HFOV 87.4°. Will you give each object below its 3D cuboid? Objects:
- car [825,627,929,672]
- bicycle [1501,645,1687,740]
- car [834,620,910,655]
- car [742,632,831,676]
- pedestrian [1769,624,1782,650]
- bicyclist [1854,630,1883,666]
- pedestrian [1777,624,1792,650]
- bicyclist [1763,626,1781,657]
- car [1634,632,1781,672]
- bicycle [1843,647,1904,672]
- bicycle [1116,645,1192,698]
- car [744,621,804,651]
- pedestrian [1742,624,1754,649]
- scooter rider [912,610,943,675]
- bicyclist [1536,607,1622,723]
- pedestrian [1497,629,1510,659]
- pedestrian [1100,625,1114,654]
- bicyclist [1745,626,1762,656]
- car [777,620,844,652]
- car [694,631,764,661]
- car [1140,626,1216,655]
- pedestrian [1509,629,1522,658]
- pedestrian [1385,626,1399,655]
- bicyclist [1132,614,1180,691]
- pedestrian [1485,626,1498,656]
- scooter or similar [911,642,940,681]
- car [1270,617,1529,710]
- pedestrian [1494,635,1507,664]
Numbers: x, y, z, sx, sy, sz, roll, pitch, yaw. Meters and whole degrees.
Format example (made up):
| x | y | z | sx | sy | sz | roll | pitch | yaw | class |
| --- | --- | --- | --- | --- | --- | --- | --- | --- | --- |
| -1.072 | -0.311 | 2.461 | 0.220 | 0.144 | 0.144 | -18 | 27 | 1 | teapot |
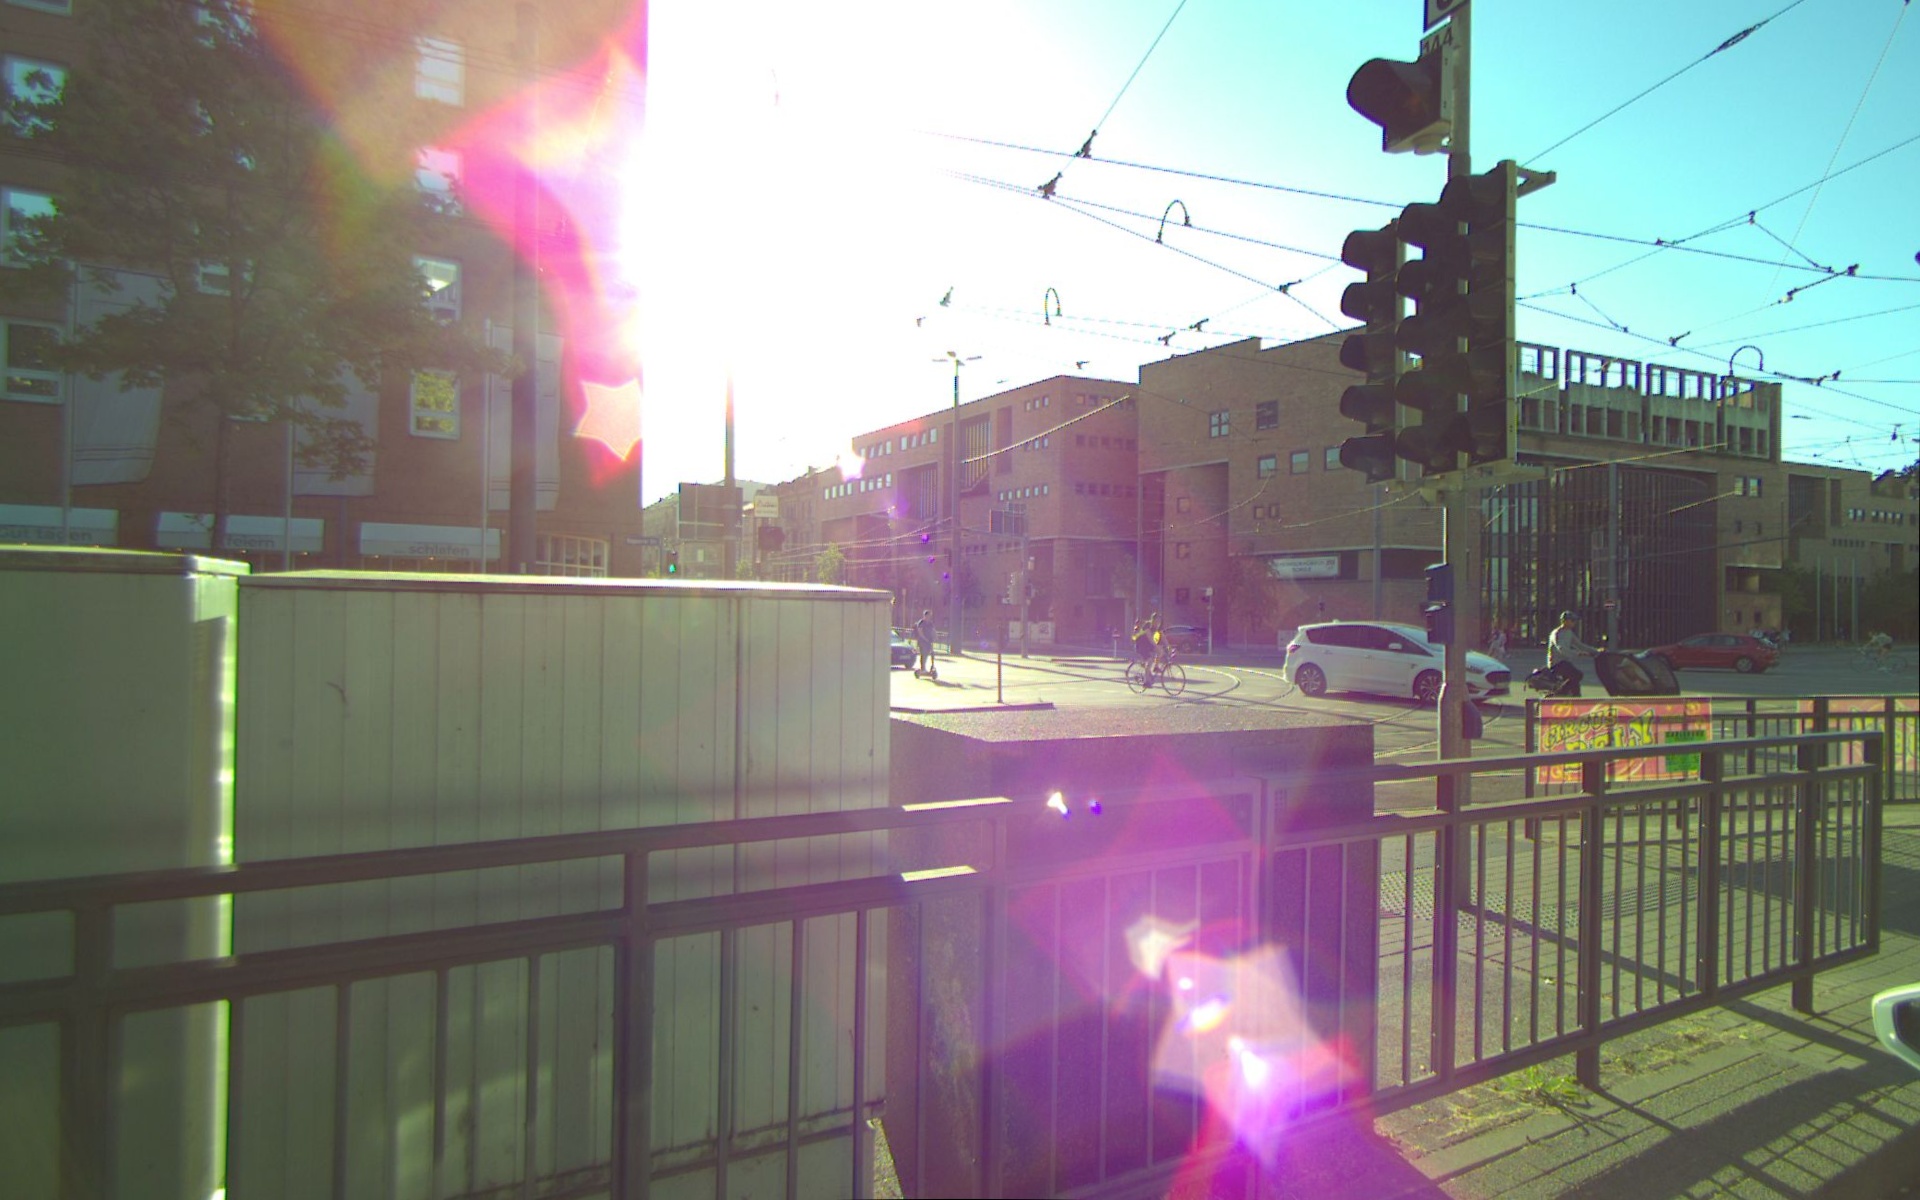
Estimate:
| x | y | z | sx | sy | sz | roll | pitch | yaw | class |
| --- | --- | --- | --- | --- | --- | --- | --- | --- | --- |
| -3.267 | 1.866 | 38.969 | 1.983 | 1.538 | 4.350 | 0 | -1 | -38 | car |
| 9.498 | 1.338 | 15.148 | 1.058 | 1.243 | 2.150 | 0 | -1 | -26 | bicycle |
| -4.606 | 1.910 | 52.050 | 1.981 | 1.719 | 4.316 | 1 | -2 | -36 | car |
| -6.047 | 1.838 | 34.835 | 1.625 | 1.416 | 3.269 | 2 | -2 | -39 | car |
| 57.644 | 2.633 | 71.039 | 0.538 | 1.803 | 0.521 | 1 | -1 | -23 | pedestrian |
| 35.446 | 1.875 | 39.186 | 0.809 | 1.384 | 0.398 | -1 | -2 | 41 | bicyclist |
| 58.605 | 2.654 | 71.399 | 0.538 | 1.834 | 0.640 | 1 | -1 | -23 | pedestrian |
| 45.099 | 2.301 | 55.816 | 0.782 | 1.697 | 0.589 | 1 | -1 | -36 | bicyclist |
| 28.415 | 1.951 | 38.281 | 1.780 | 1.411 | 4.207 | 2 | -2 | -39 | car |
| 35.528 | 2.298 | 39.089 | 1.721 | 0.911 | 0.407 | -1 | -2 | 42 | bicycle |
| 4.327 | 1.569 | 22.512 | 0.621 | 1.078 | 1.916 | 1 | -1 | -27 | bicycle |
| -11.447 | 2.188 | 61.719 | 1.981 | 1.719 | 4.316 | 1 | -2 | -36 | car |
| 56.921 | 2.621 | 72.561 | 0.538 | 1.834 | 0.489 | 1 | -1 | -23 | pedestrian |
| -0.990 | 1.278 | 30.371 | 0.727 | 1.921 | 0.661 | 1 | -2 | -27 | scooter rider |
| 9.422 | 0.966 | 15.312 | 0.682 | 1.703 | 0.901 | 1 | -1 | -26 | bicyclist |
| 31.540 | 2.551 | 58.312 | 0.530 | 1.672 | 0.622 | -1 | -1 | 41 | pedestrian |
| 8.614 | 2.313 | 58.962 | 0.608 | 1.635 | 0.540 | -1 | 2 | -35 | pedestrian |
| 44.515 | 2.284 | 56.352 | 0.782 | 1.697 | 0.589 | 1 | -1 | -36 | bicyclist |
| -8.479 | 2.016 | 56.696 | 1.981 | 1.719 | 4.316 | 1 | -2 | -36 | car |
| -11.717 | 2.294 | 50.766 | 1.980 | 1.398 | 4.351 | 1 | -2 | -35 | car |
| 12.746 | 2.333 | 58.924 | 1.781 | 1.623 | 4.206 | 2 | -2 | -40 | car |
| 31.535 | 2.462 | 57.056 | 0.530 | 1.672 | 0.622 | -1 | -2 | 41 | pedestrian |
| 24.376 | 2.293 | 56.641 | 0.560 | 1.635 | 0.545 | 0 | -1 | 1 | pedestrian |
| 4.377 | 1.154 | 22.420 | 0.631 | 1.686 | 0.901 | 1 | -1 | -27 | bicyclist |
| 30.148 | 2.328 | 56.948 | 0.530 | 1.672 | 0.622 | 1 | -1 | 41 | pedestrian |
| -1.047 | 1.841 | 30.361 | 0.397 | 1.119 | 1.202 | 1 | -1 | -26 | scooter or similar |
| 9.294 | 1.253 | 21.643 | 1.980 | 1.750 | 4.802 | 1 | -1 | -35 | car |
| 31.050 | 2.846 | 57.707 | 0.530 | 1.672 | 0.622 | 1 | -1 | 41 | pedestrian |
